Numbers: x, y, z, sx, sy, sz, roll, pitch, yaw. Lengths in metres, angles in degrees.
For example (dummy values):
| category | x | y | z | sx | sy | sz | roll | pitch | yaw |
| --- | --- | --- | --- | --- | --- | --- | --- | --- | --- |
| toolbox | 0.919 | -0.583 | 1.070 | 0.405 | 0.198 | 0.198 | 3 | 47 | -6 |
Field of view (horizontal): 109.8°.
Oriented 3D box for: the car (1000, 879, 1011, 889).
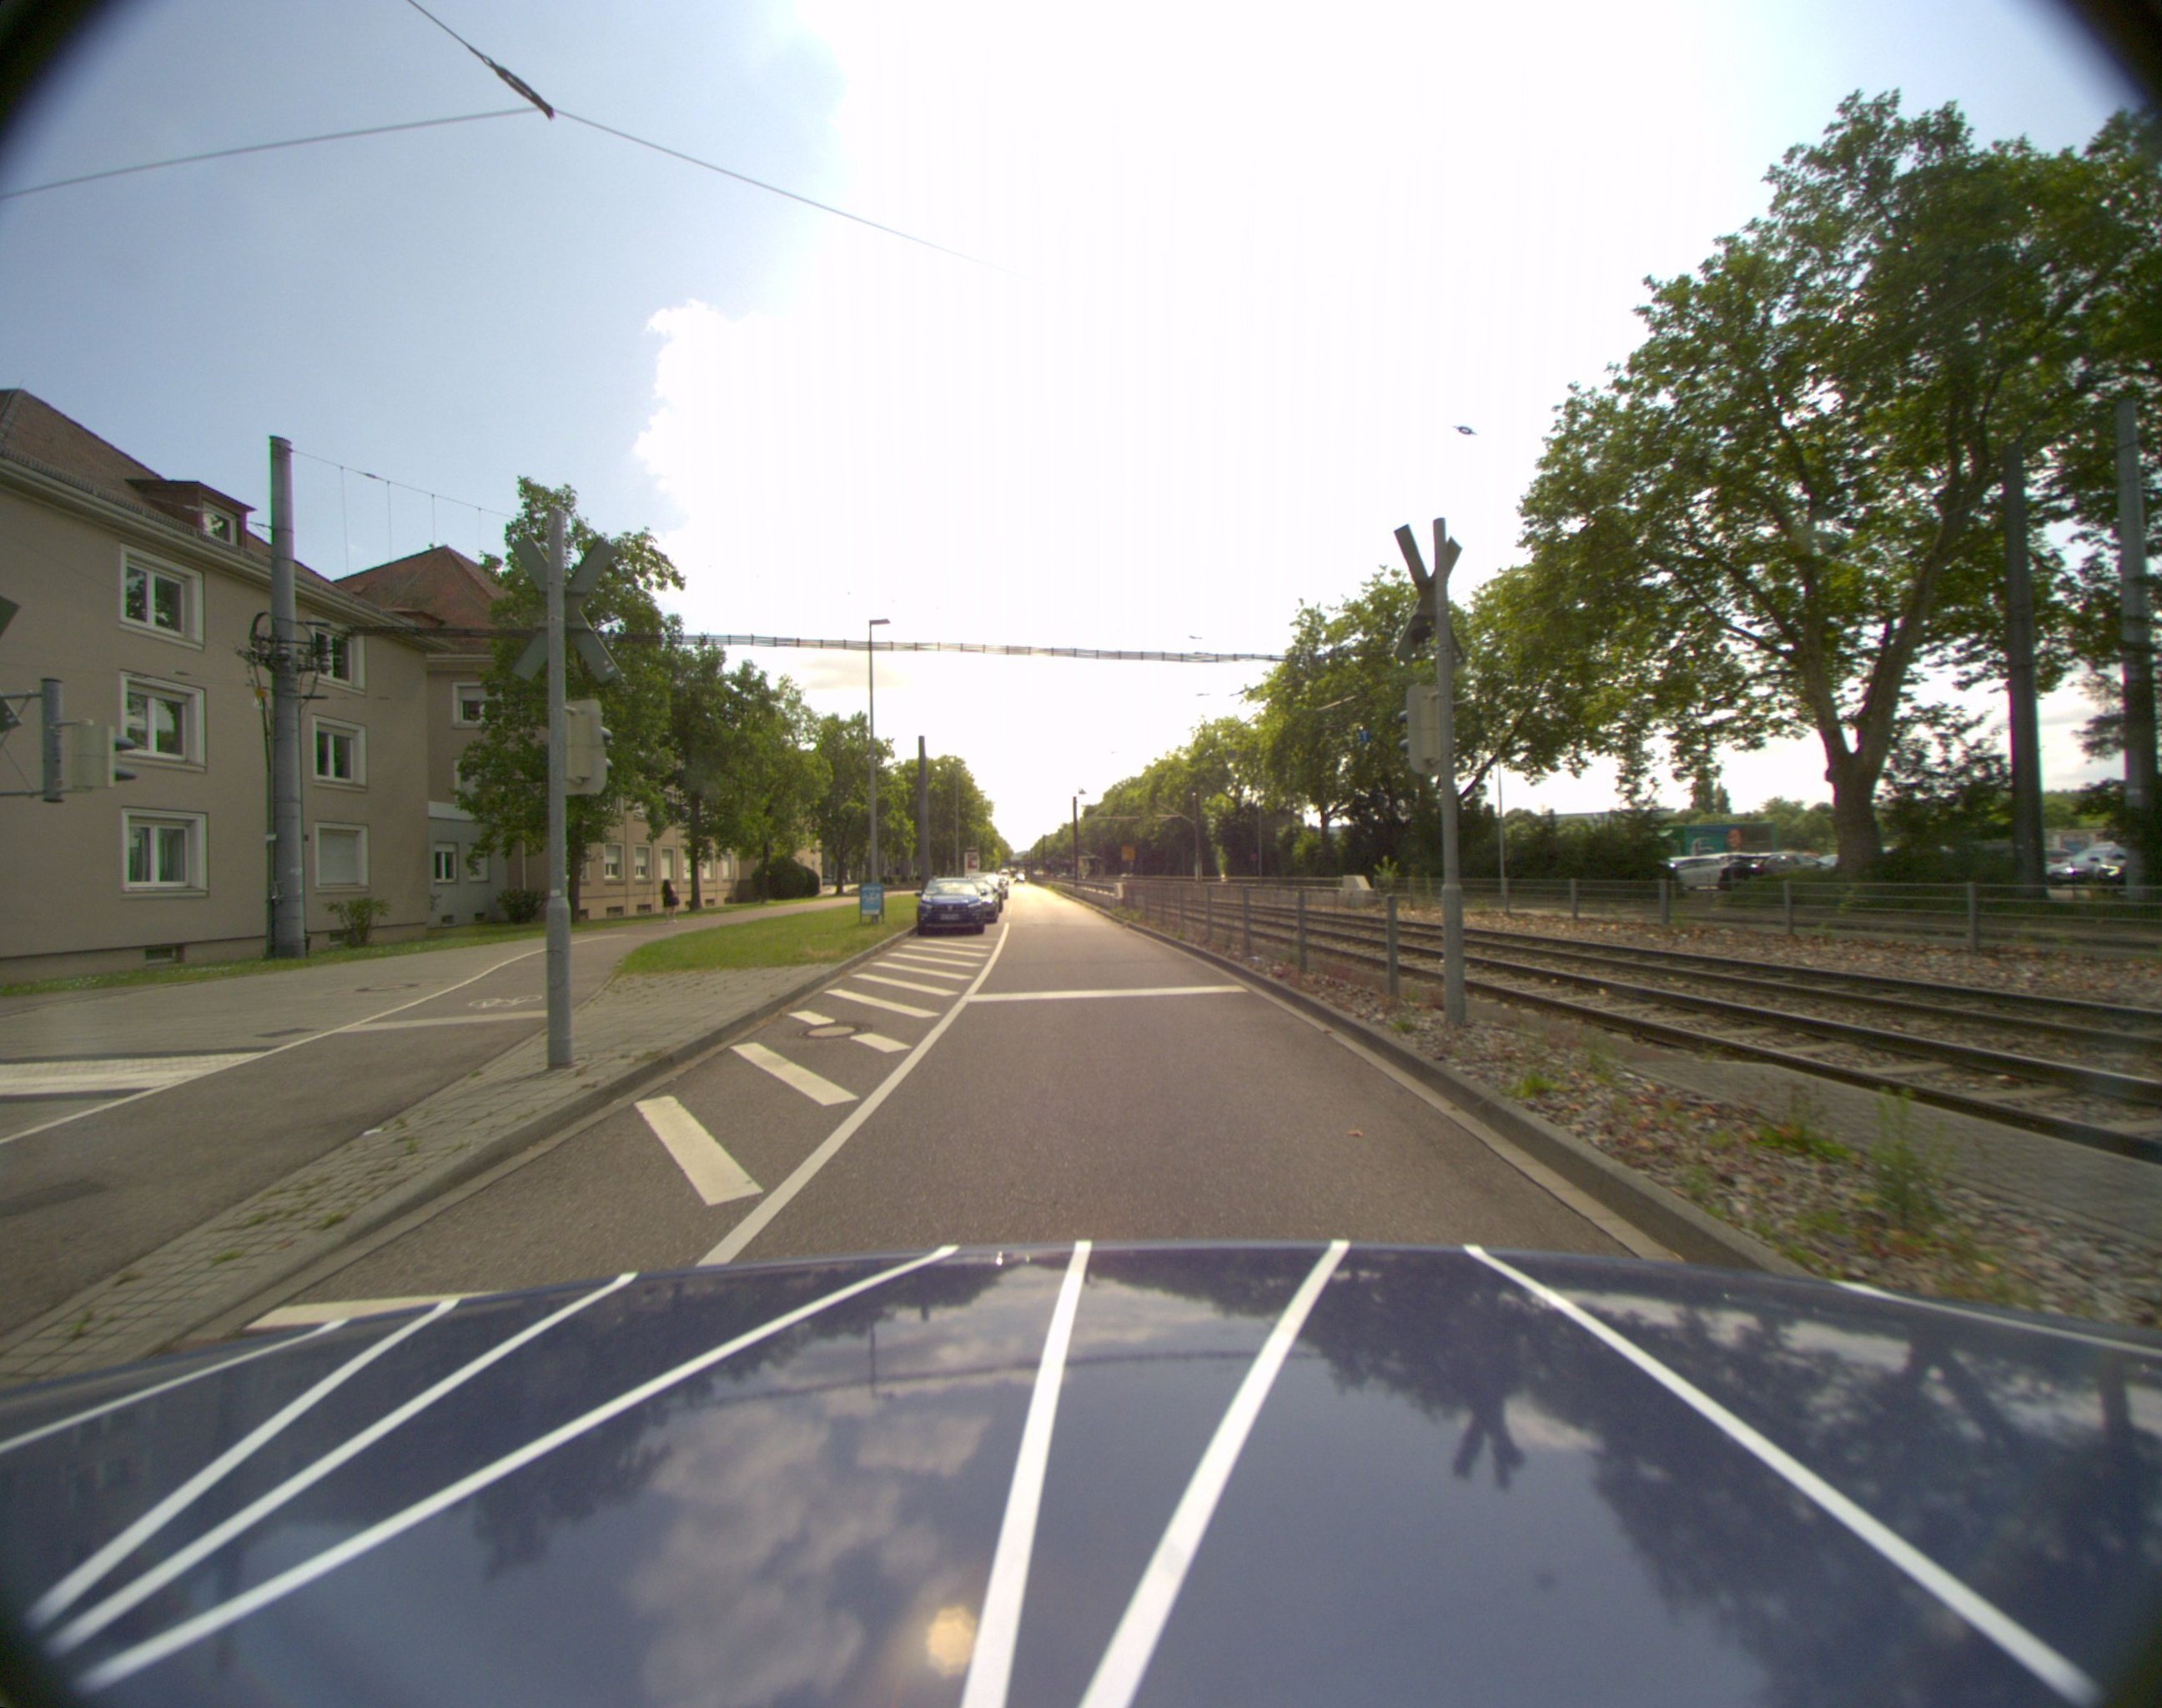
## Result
| category | x | y | z | sx | sy | sz | roll | pitch | yaw |
| --- | --- | --- | --- | --- | --- | --- | --- | --- | --- |
| car | -12.645 | 4.984 | 127.772 | 1.810 | 1.496 | 3.733 | -2 | -1 | -5 |

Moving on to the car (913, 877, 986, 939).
| category | x | y | z | sx | sy | sz | roll | pitch | yaw |
| --- | --- | --- | --- | --- | --- | --- | --- | --- | --- |
| car | -3.599 | 1.427 | 21.387 | 1.785 | 1.531 | 4.419 | 0 | -1 | -7 |

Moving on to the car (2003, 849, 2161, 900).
| category | x | y | z | sx | sy | sz | roll | pitch | yaw |
| --- | --- | --- | --- | --- | --- | --- | --- | --- | --- |
| car | 37.673 | 0.747 | 28.478 | 3.999 | 1.761 | 1.999 | -1 | -1 | -5 |

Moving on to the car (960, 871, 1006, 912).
| category | x | y | z | sx | sy | sz | roll | pitch | yaw |
| --- | --- | --- | --- | --- | --- | --- | --- | --- | --- |
| car | -4.223 | 1.599 | 33.258 | 1.822 | 1.652 | 4.669 | 0 | -2 | -5 |

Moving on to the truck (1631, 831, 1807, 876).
| category | x | y | z | sx | sy | sz | roll | pitch | yaw |
| --- | --- | --- | --- | --- | --- | --- | --- | --- | --- |
| truck | 40.003 | -0.018 | 47.855 | 8.856 | 2.776 | 2.706 | 0 | -1 | 0 |

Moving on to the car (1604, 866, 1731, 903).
| category | x | y | z | sx | sy | sz | roll | pitch | yaw |
| --- | --- | --- | --- | --- | --- | --- | --- | --- | --- |
| car | 25.135 | 1.293 | 32.666 | 3.999 | 1.433 | 1.999 | -1 | -1 | -5 |

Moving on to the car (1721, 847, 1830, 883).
| category | x | y | z | sx | sy | sz | roll | pitch | yaw |
| --- | --- | --- | --- | --- | --- | --- | --- | --- | --- |
| car | 36.530 | 0.574 | 40.039 | 3.999 | 1.761 | 1.999 | -1 | -1 | -5 |

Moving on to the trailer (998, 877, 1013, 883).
| category | x | y | z | sx | sy | sz | roll | pitch | yaw |
| --- | --- | --- | --- | --- | --- | --- | --- | --- | --- |
| trailer | -11.561 | 3.924 | 116.769 | 2.304 | 0.822 | 6.818 | 0 | -1 | -5 |

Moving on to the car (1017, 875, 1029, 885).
| category | x | y | z | sx | sy | sz | roll | pitch | yaw |
| --- | --- | --- | --- | --- | --- | --- | --- | --- | --- |
| car | -10.539 | 4.622 | 137.763 | 1.999 | 1.710 | 4.303 | 0 | -1 | -5 |

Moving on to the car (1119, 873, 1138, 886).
| category | x | y | z | sx | sy | sz | roll | pitch | yaw |
| --- | --- | --- | --- | --- | --- | --- | --- | --- | --- |
| car | 6.044 | 3.274 | 96.821 | 1.672 | 1.587 | 4.297 | 0 | -1 | -5 |

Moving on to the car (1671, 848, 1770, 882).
| category | x | y | z | sx | sy | sz | roll | pitch | yaw |
| --- | --- | --- | --- | --- | --- | --- | --- | --- | --- |
| car | 36.096 | 0.618 | 42.963 | 3.999 | 1.761 | 1.999 | -1 | -1 | -5 |

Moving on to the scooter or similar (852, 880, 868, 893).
| category | x | y | z | sx | sy | sz | roll | pitch | yaw |
| --- | --- | --- | --- | --- | --- | --- | --- | --- | --- |
| scooter or similar | -23.293 | 3.427 | 80.101 | 1.442 | 1.295 | 0.548 | -2 | 0 | 10 |

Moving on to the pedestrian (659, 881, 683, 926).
| category | x | y | z | sx | sy | sz | roll | pitch | yaw |
| --- | --- | --- | --- | --- | --- | --- | --- | --- | --- |
| pedestrian | -14.596 | 1.752 | 27.080 | 0.625 | 1.598 | 0.623 | 0 | 0 | -16 |

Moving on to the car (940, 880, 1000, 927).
| category | x | y | z | sx | sy | sz | roll | pitch | yaw |
| --- | --- | --- | --- | --- | --- | --- | --- | --- | --- |
| car | -3.776 | 1.648 | 26.605 | 1.822 | 1.445 | 4.989 | 0 | -2 | -5 |

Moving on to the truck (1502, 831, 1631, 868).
| category | x | y | z | sx | sy | sz | roll | pitch | yaw |
| --- | --- | --- | --- | --- | --- | --- | --- | --- | --- |
| truck | 53.248 | -0.473 | 83.409 | 12.825 | 4.049 | 2.747 | 0 | 0 | -4 |

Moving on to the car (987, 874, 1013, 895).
| category | x | y | z | sx | sy | sz | roll | pitch | yaw |
| --- | --- | --- | --- | --- | --- | --- | --- | --- | --- |
| car | -5.969 | 2.201 | 56.184 | 1.712 | 1.470 | 3.789 | 0 | -1 | -4 |
